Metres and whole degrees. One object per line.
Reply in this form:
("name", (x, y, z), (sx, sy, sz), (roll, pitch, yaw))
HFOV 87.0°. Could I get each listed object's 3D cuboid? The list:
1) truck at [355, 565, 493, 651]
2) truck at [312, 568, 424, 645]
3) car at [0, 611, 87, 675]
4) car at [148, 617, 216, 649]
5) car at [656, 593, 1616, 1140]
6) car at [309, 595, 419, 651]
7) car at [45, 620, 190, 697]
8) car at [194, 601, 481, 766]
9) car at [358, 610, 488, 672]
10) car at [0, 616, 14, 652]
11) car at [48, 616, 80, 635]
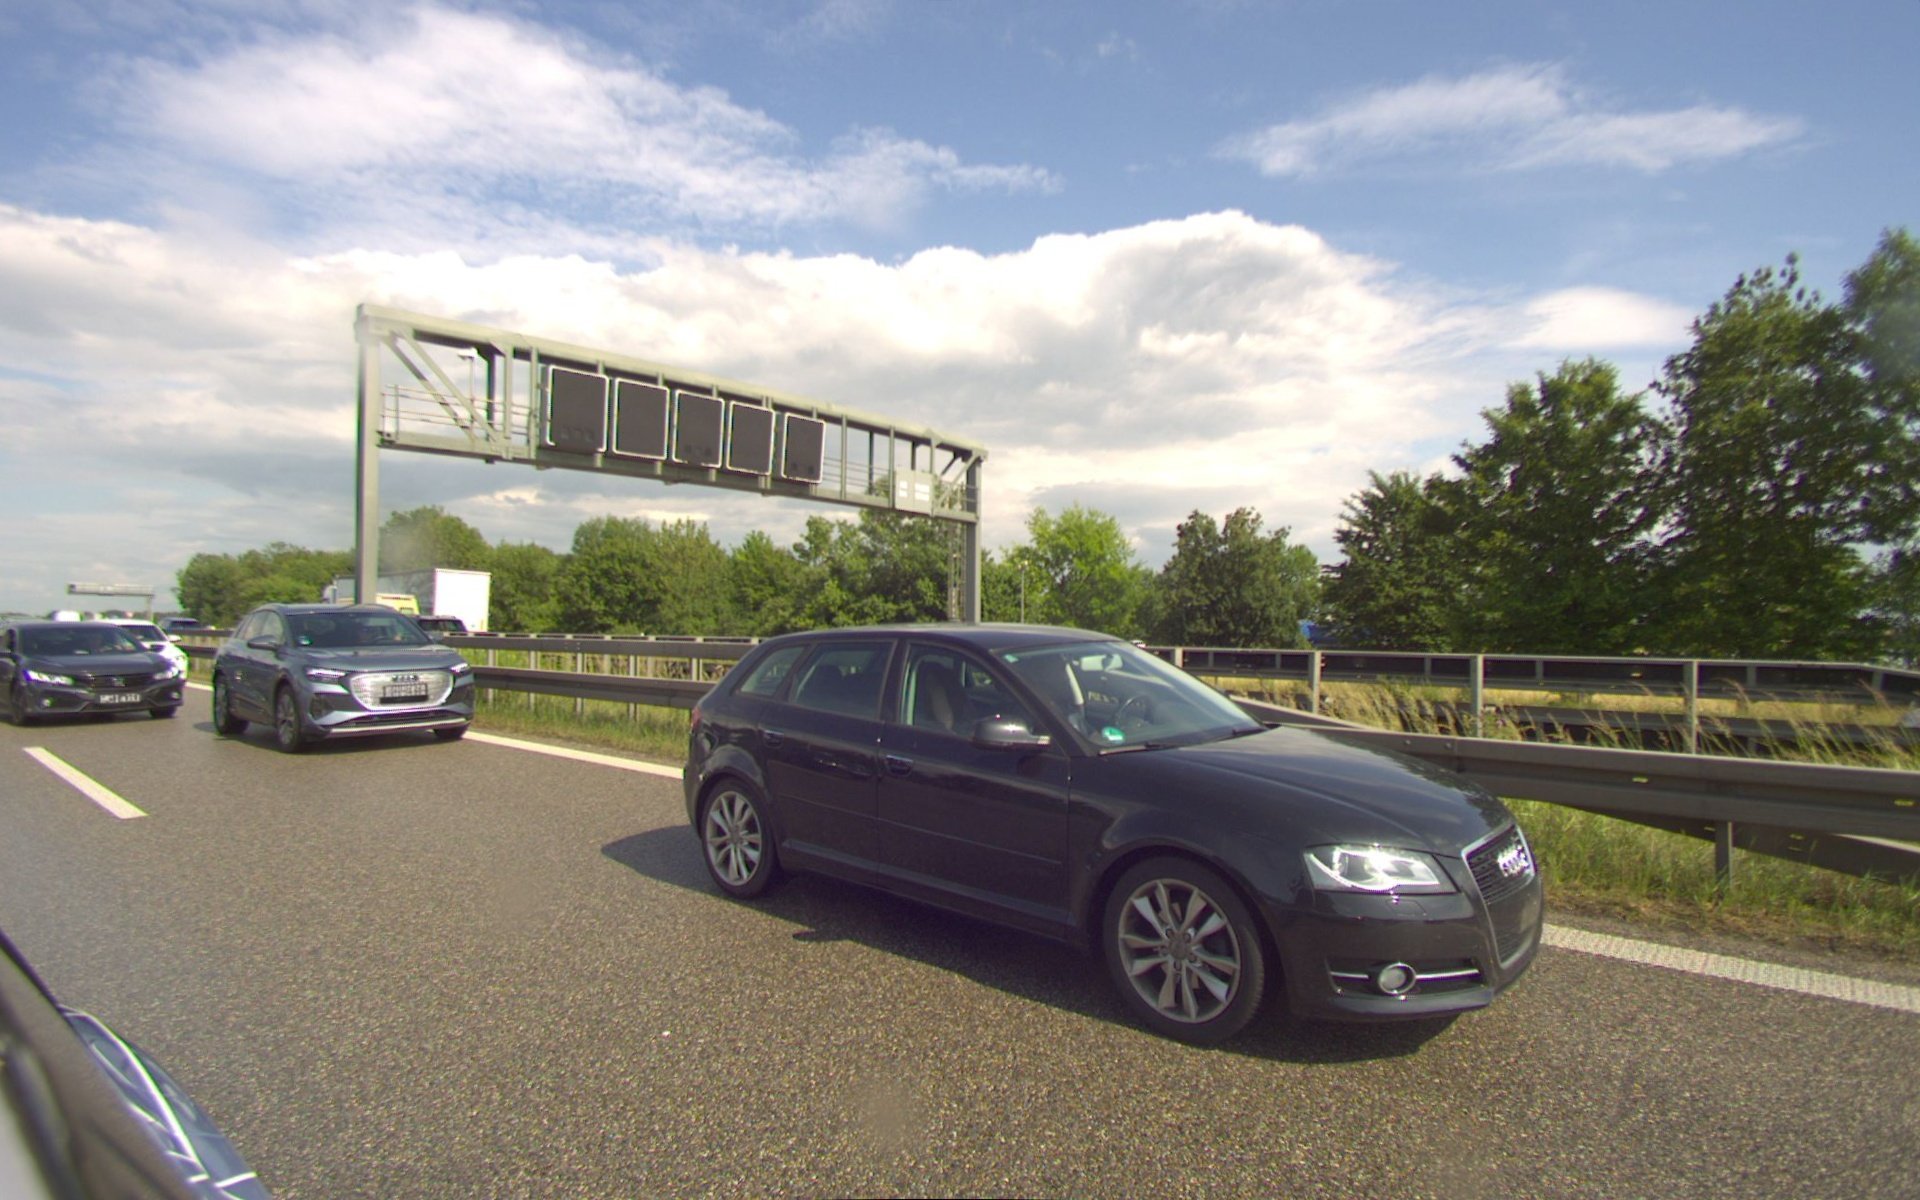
("truck", (-26.343, 0.357, 49.494), (9.418, 3.882, 2.819), (0, 0, 41))
("truck", (-31.900, 0.342, 54.384), (7.874, 3.850, 2.832), (0, 0, 41))
("car", (-28.670, 1.269, 31.314), (3.998, 1.761, 1.973), (0, 1, 41))
("car", (-39.916, 1.663, 51.911), (4.096, 1.471, 1.973), (-1, 1, 41))
("car", (0.466, 0.721, 4.731), (4.138, 1.436, 1.747), (-1, 0, 43))
("car", (-25.579, 0.984, 43.283), (6.976, 2.225, 1.973), (-2, -1, 41))
("car", (-17.814, 1.157, 21.346), (3.998, 1.389, 1.748), (0, -1, 41))
("car", (-7.530, 0.846, 12.076), (4.228, 1.618, 1.850), (-1, -1, 43))
("car", (-15.287, 1.108, 28.747), (3.998, 1.597, 1.973), (-1, 0, 41))
("car", (-43.583, 1.503, 44.879), (3.998, 1.490, 1.973), (0, 1, 41))
("car", (-98.165, 2.807, 110.854), (5.555, 2.029, 1.973), (-1, -2, 41))
